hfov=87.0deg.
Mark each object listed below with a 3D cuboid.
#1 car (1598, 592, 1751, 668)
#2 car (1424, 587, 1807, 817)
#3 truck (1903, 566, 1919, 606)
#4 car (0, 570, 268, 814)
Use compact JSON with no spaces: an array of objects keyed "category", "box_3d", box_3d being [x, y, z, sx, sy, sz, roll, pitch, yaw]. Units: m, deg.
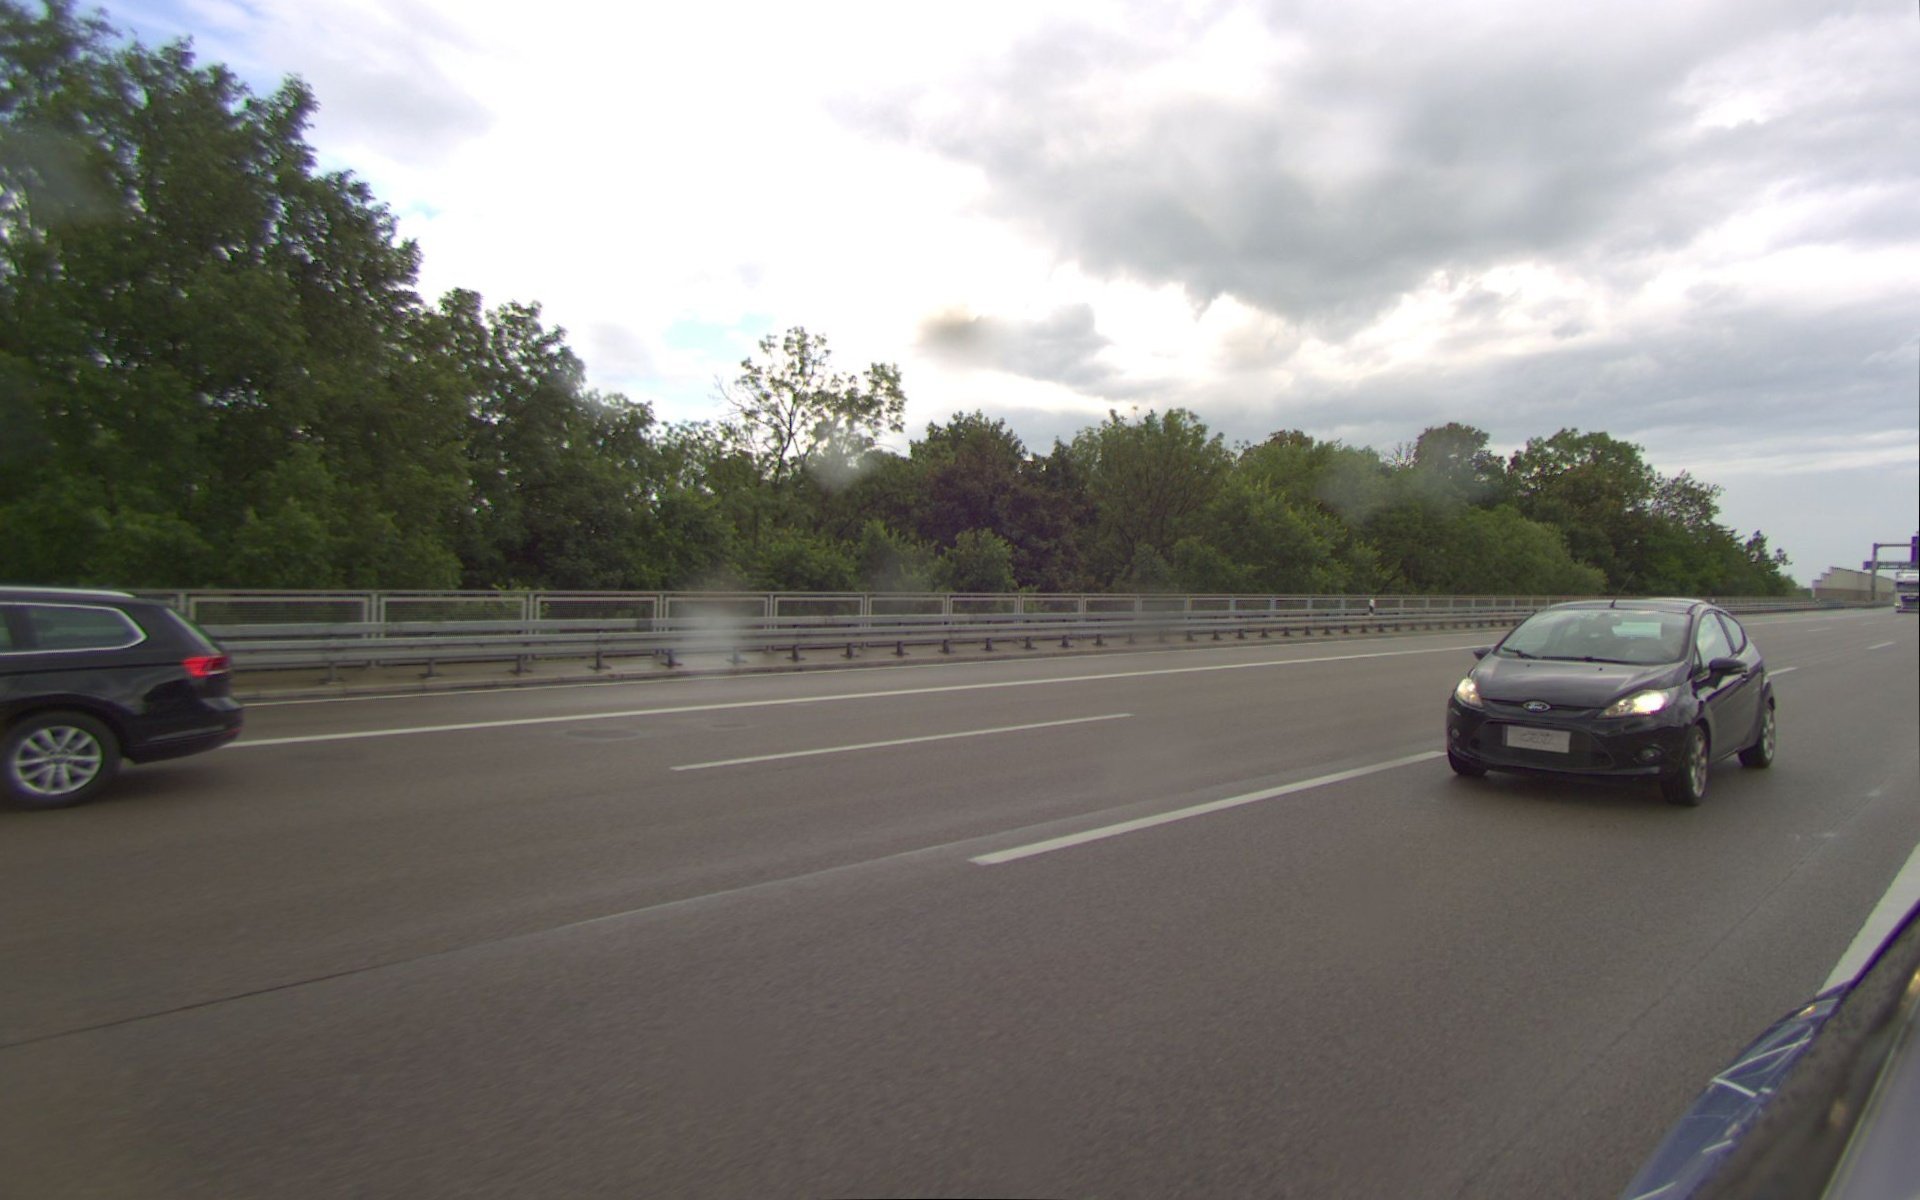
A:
[{"category":"car","box_3d":[15.587,0.589,21.995,4.174,1.465,1.896,0,1,-43]},{"category":"car","box_3d":[5.696,0.625,8.547,4.330,1.458,1.666,-1,1,-42]},{"category":"truck","box_3d":[99.658,-1.392,104.266,12.114,3.956,3.248,0,0,-45]},{"category":"car","box_3d":[-7.267,0.574,6.652,4.284,1.562,1.817,0,1,-43]}]
